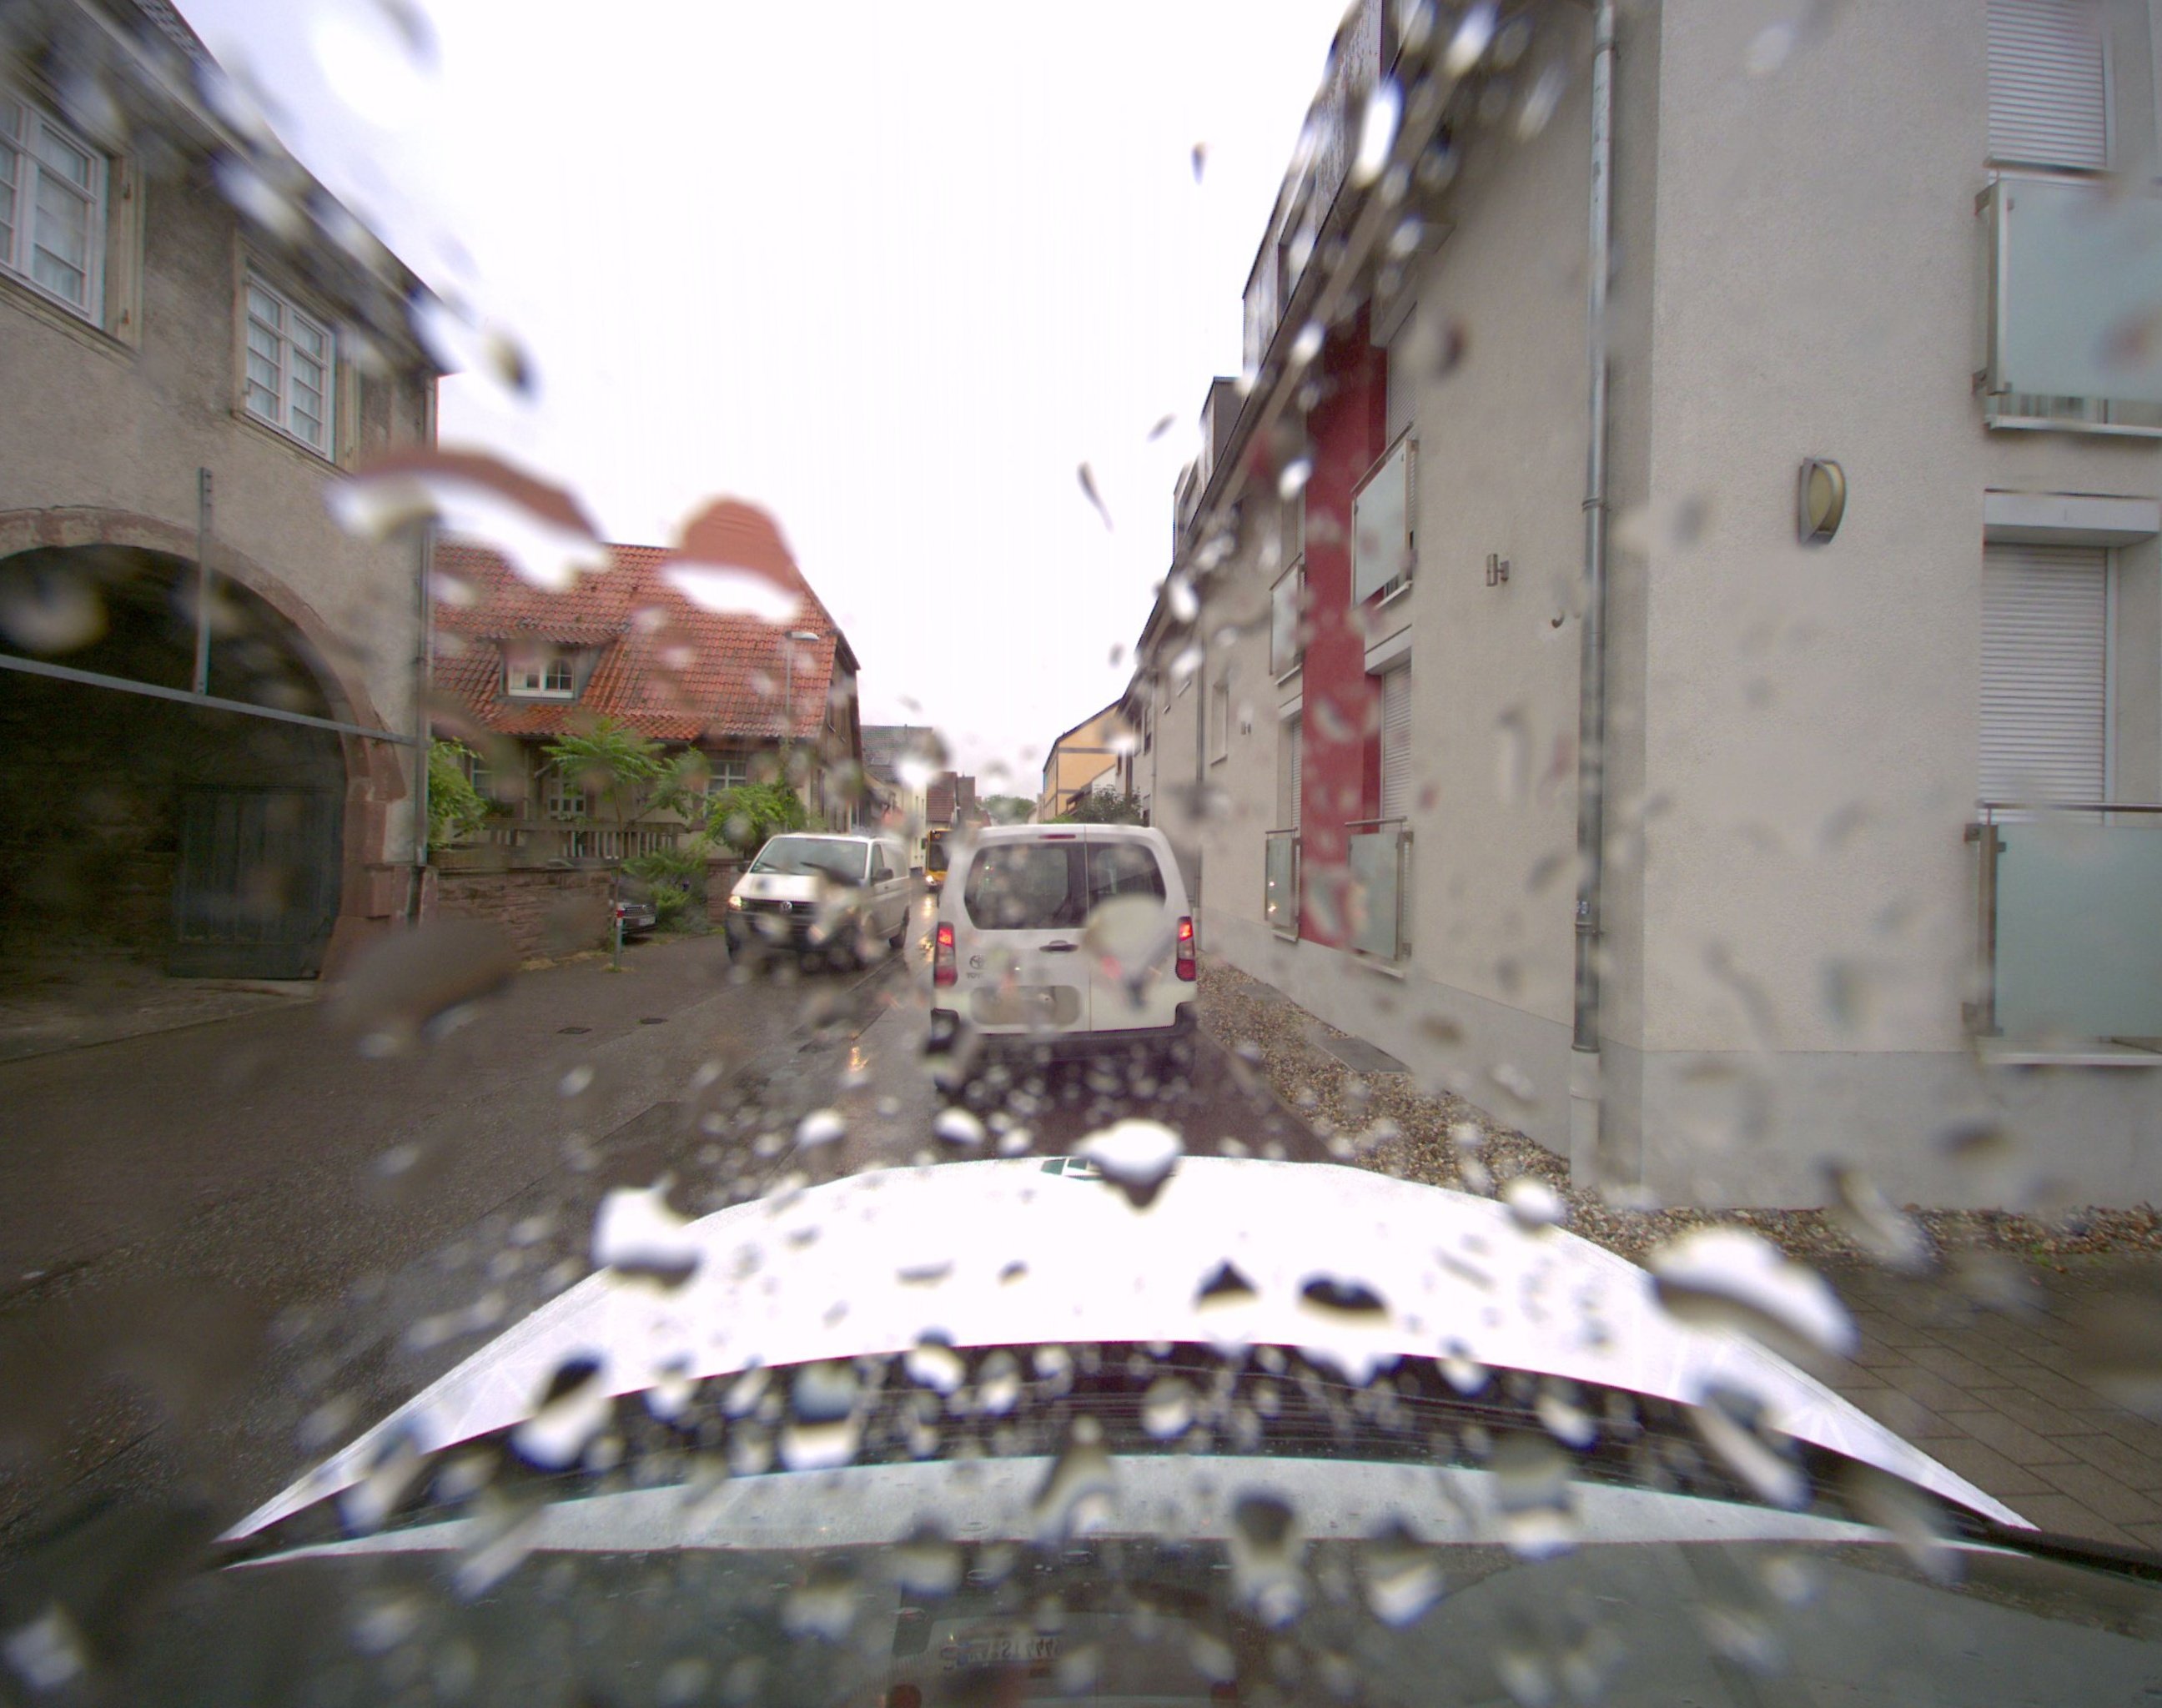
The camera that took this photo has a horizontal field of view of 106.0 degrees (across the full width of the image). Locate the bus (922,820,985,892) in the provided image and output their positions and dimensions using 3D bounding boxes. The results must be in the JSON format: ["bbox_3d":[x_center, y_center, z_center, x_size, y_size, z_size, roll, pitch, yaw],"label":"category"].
[{"bbox_3d":[-6.496,0.156,42.095,2.791,3.329,8.154,2,-1,-8],"label":"bus"}]

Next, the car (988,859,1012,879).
[{"bbox_3d":[-5.907,1.104,59.675,1.559,1.372,3.579,2,-1,-4],"label":"car"}]

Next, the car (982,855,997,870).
[{"bbox_3d":[-11.036,1.057,98.309,1.575,1.724,3.546,2,-1,-3],"label":"car"}]

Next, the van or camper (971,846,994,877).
[{"bbox_3d":[-9.772,0.748,81.288,1.831,2.926,5.356,2,-1,-3],"label":"van or camper"}]

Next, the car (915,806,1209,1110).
[{"bbox_3d":[-0.275,0.651,7.047,1.792,1.819,4.094,-1,-1,-5],"label":"car"}]

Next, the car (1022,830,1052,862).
[{"bbox_3d":[-2.977,-0.492,54.539,1.824,2.014,3.687,2,-1,-5],"label":"car"}]

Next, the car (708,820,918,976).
[{"bbox_3d":[-3.939,0.615,12.920,1.888,1.967,4.717,2,-1,-3],"label":"car"}]

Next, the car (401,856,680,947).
[{"bbox_3d":[-8.884,0.759,13.623,3.519,1.376,1.593,1,0,-3],"label":"car"}]

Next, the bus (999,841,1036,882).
[{"bbox_3d":[-5.399,0.691,69.211,2.788,3.180,8.163,3,-1,-5],"label":"bus"}]

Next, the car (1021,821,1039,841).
[{"bbox_3d":[-5.823,-2.598,93.371,1.989,2.014,3.994,2,-1,-4],"label":"car"}]

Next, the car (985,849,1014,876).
[{"bbox_3d":[-4.805,0.518,48.574,1.559,1.480,3.579,2,-1,-4],"label":"car"}]
